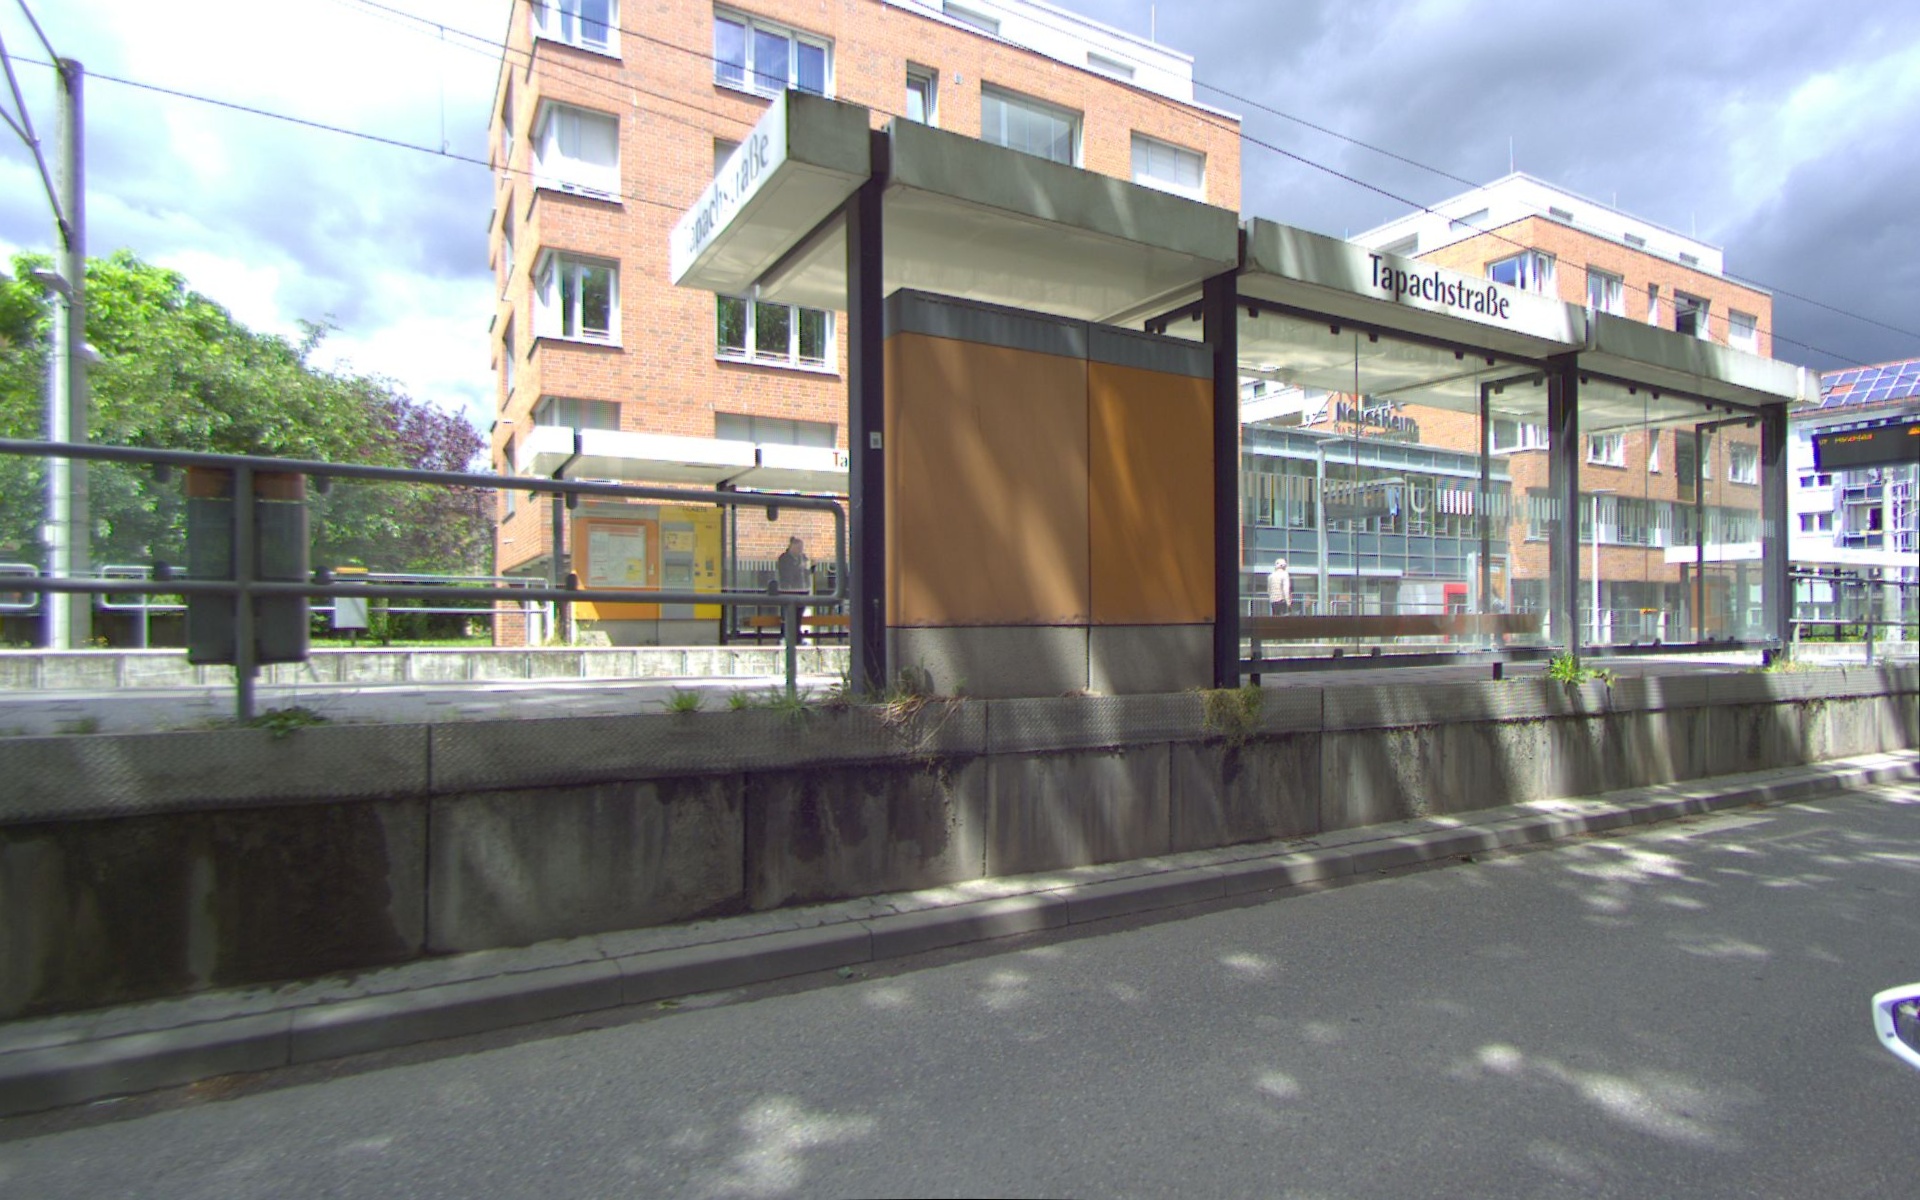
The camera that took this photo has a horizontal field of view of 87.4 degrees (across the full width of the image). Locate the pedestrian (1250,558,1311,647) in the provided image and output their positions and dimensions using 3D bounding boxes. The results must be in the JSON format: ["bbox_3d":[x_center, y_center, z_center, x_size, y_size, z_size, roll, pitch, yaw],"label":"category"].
[{"bbox_3d":[6.130,0.050,19.245,0.806,1.650,0.748,1,0,-30],"label":"pedestrian"}]

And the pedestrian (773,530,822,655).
[{"bbox_3d":[-2.380,-0.097,14.688,0.522,1.787,0.531,1,-1,-33],"label":"pedestrian"}]
